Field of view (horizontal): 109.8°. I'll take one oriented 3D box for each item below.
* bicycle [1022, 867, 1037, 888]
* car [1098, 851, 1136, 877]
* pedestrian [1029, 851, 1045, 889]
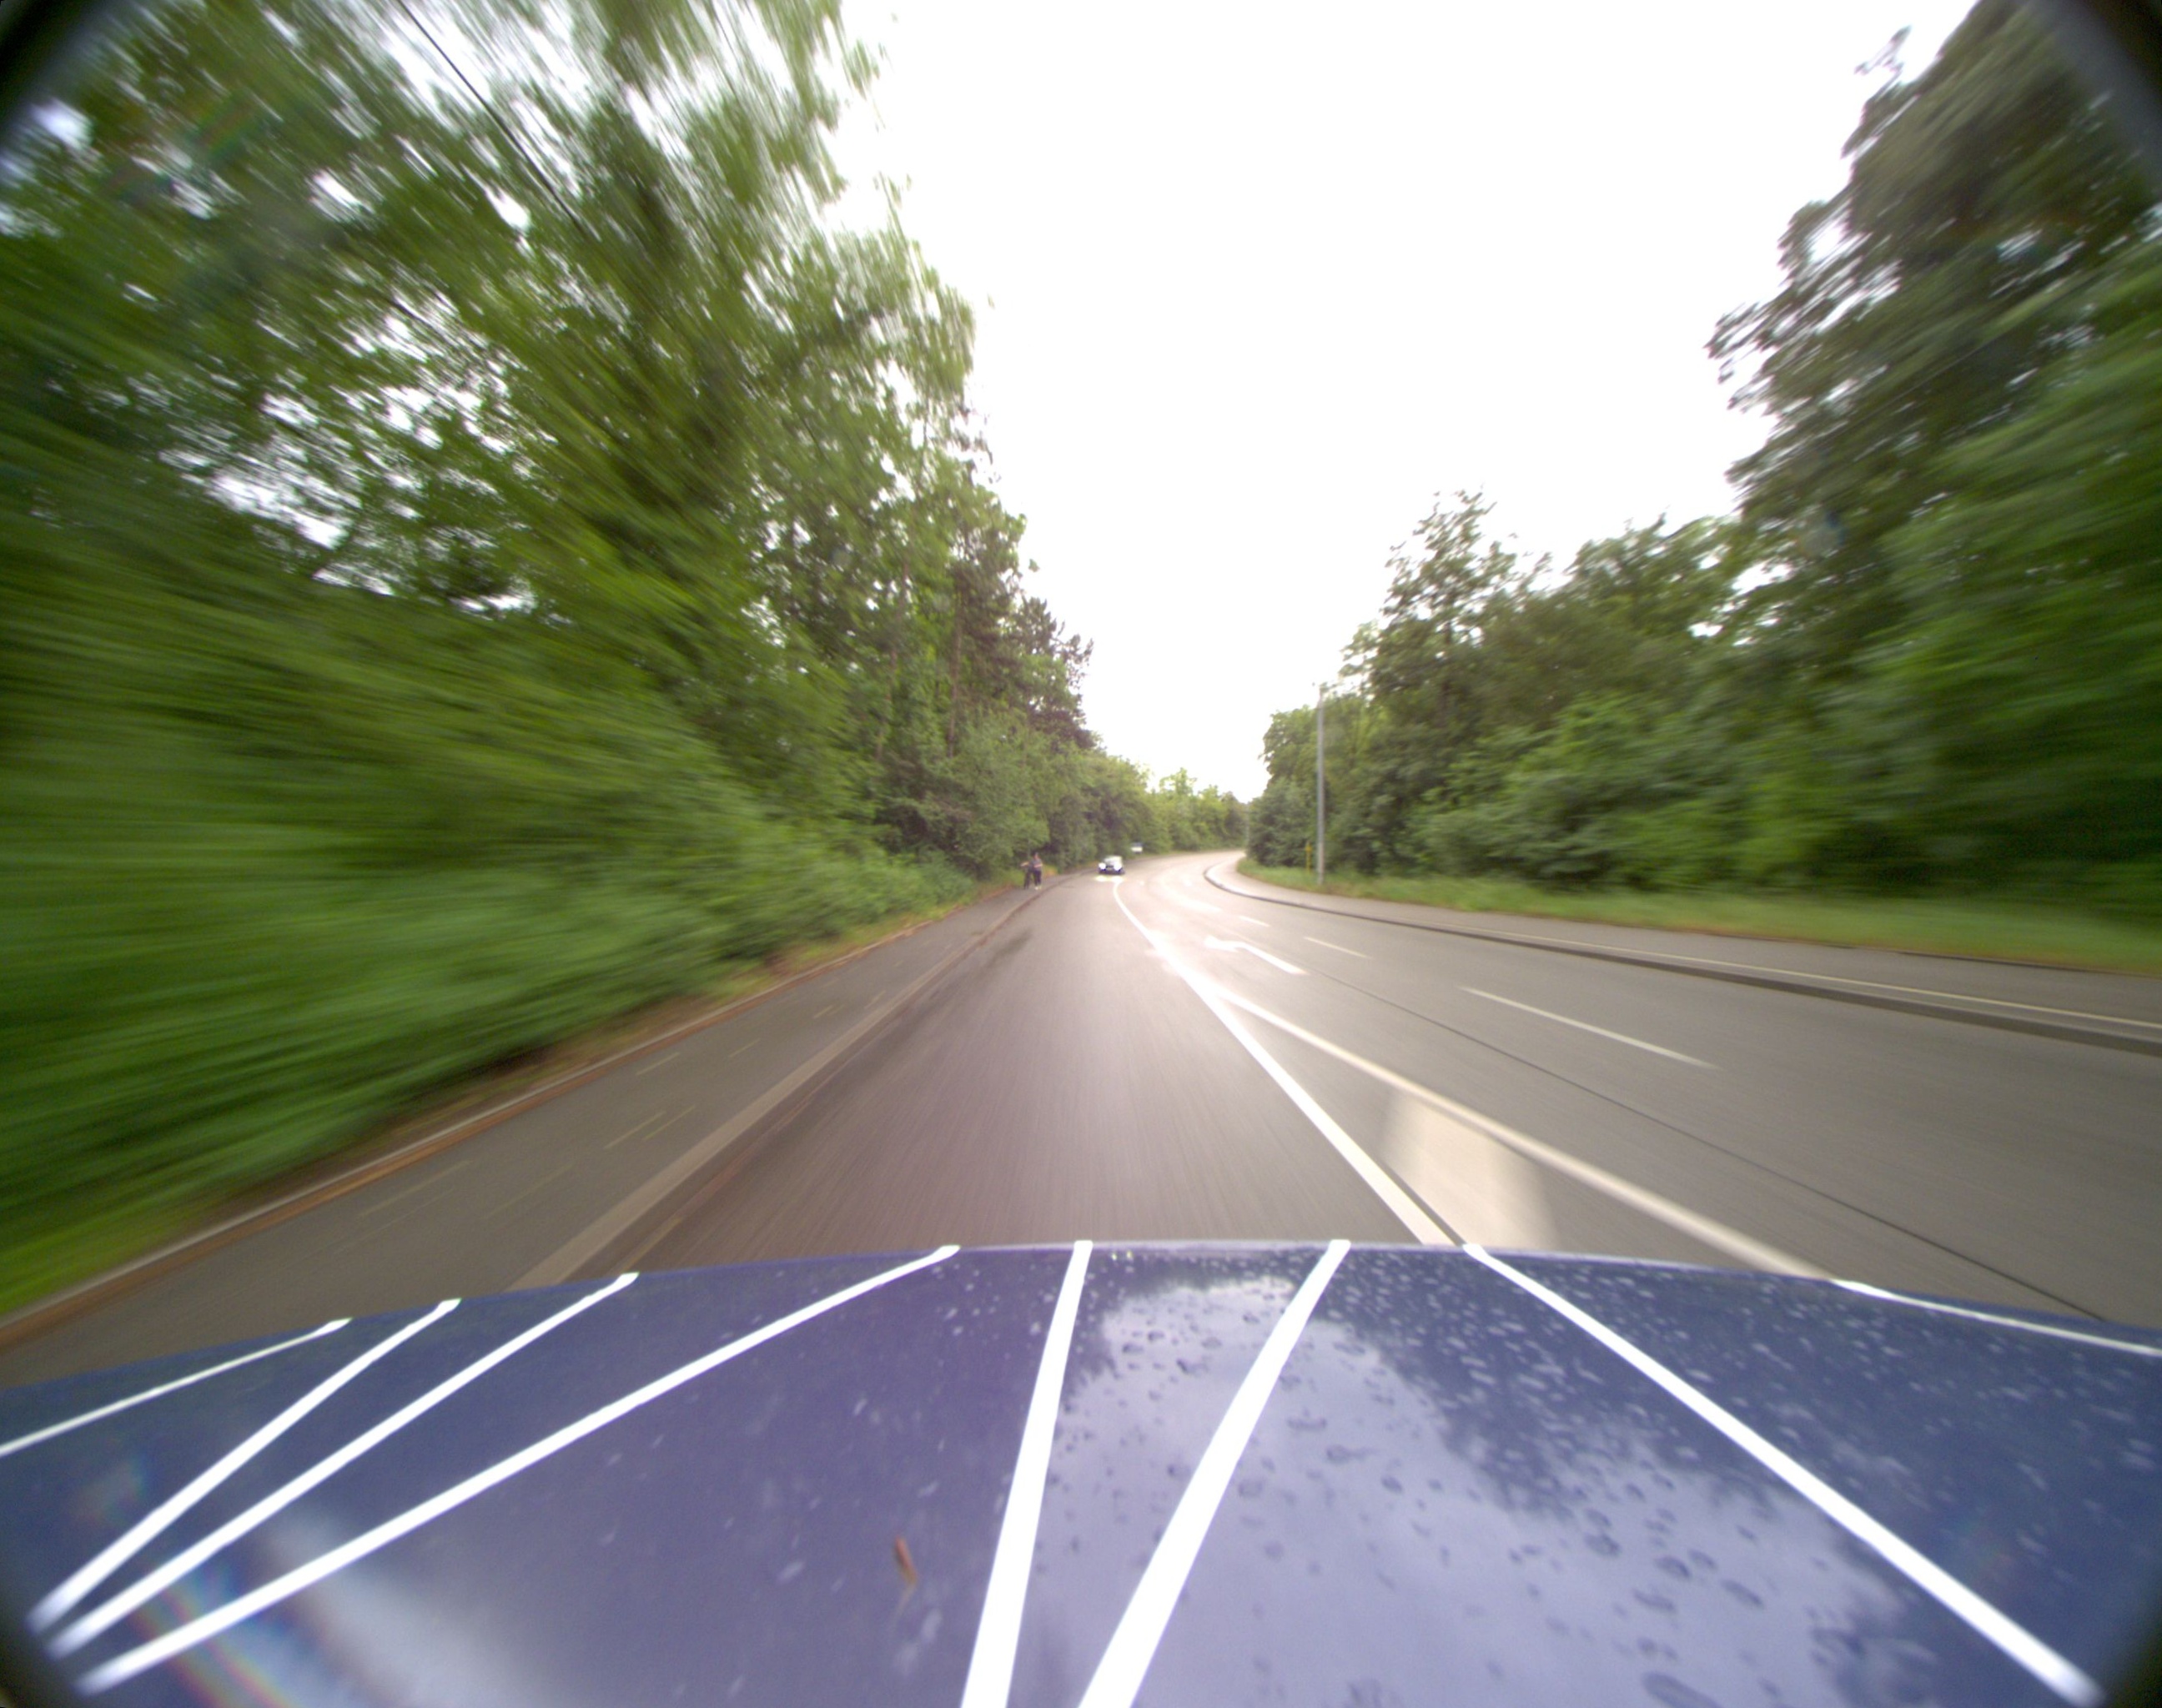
[{"bbox_3d":[-2.273,1.031,33.730,0.356,0.844,1.743,5,2,4],"label":"bicycle"},{"bbox_3d":[2.917,0.745,60.532,1.828,1.513,4.002,6,7,19],"label":"car"},{"bbox_3d":[-1.934,0.696,33.370,0.565,1.568,0.769,2,4,4],"label":"pedestrian"}]
